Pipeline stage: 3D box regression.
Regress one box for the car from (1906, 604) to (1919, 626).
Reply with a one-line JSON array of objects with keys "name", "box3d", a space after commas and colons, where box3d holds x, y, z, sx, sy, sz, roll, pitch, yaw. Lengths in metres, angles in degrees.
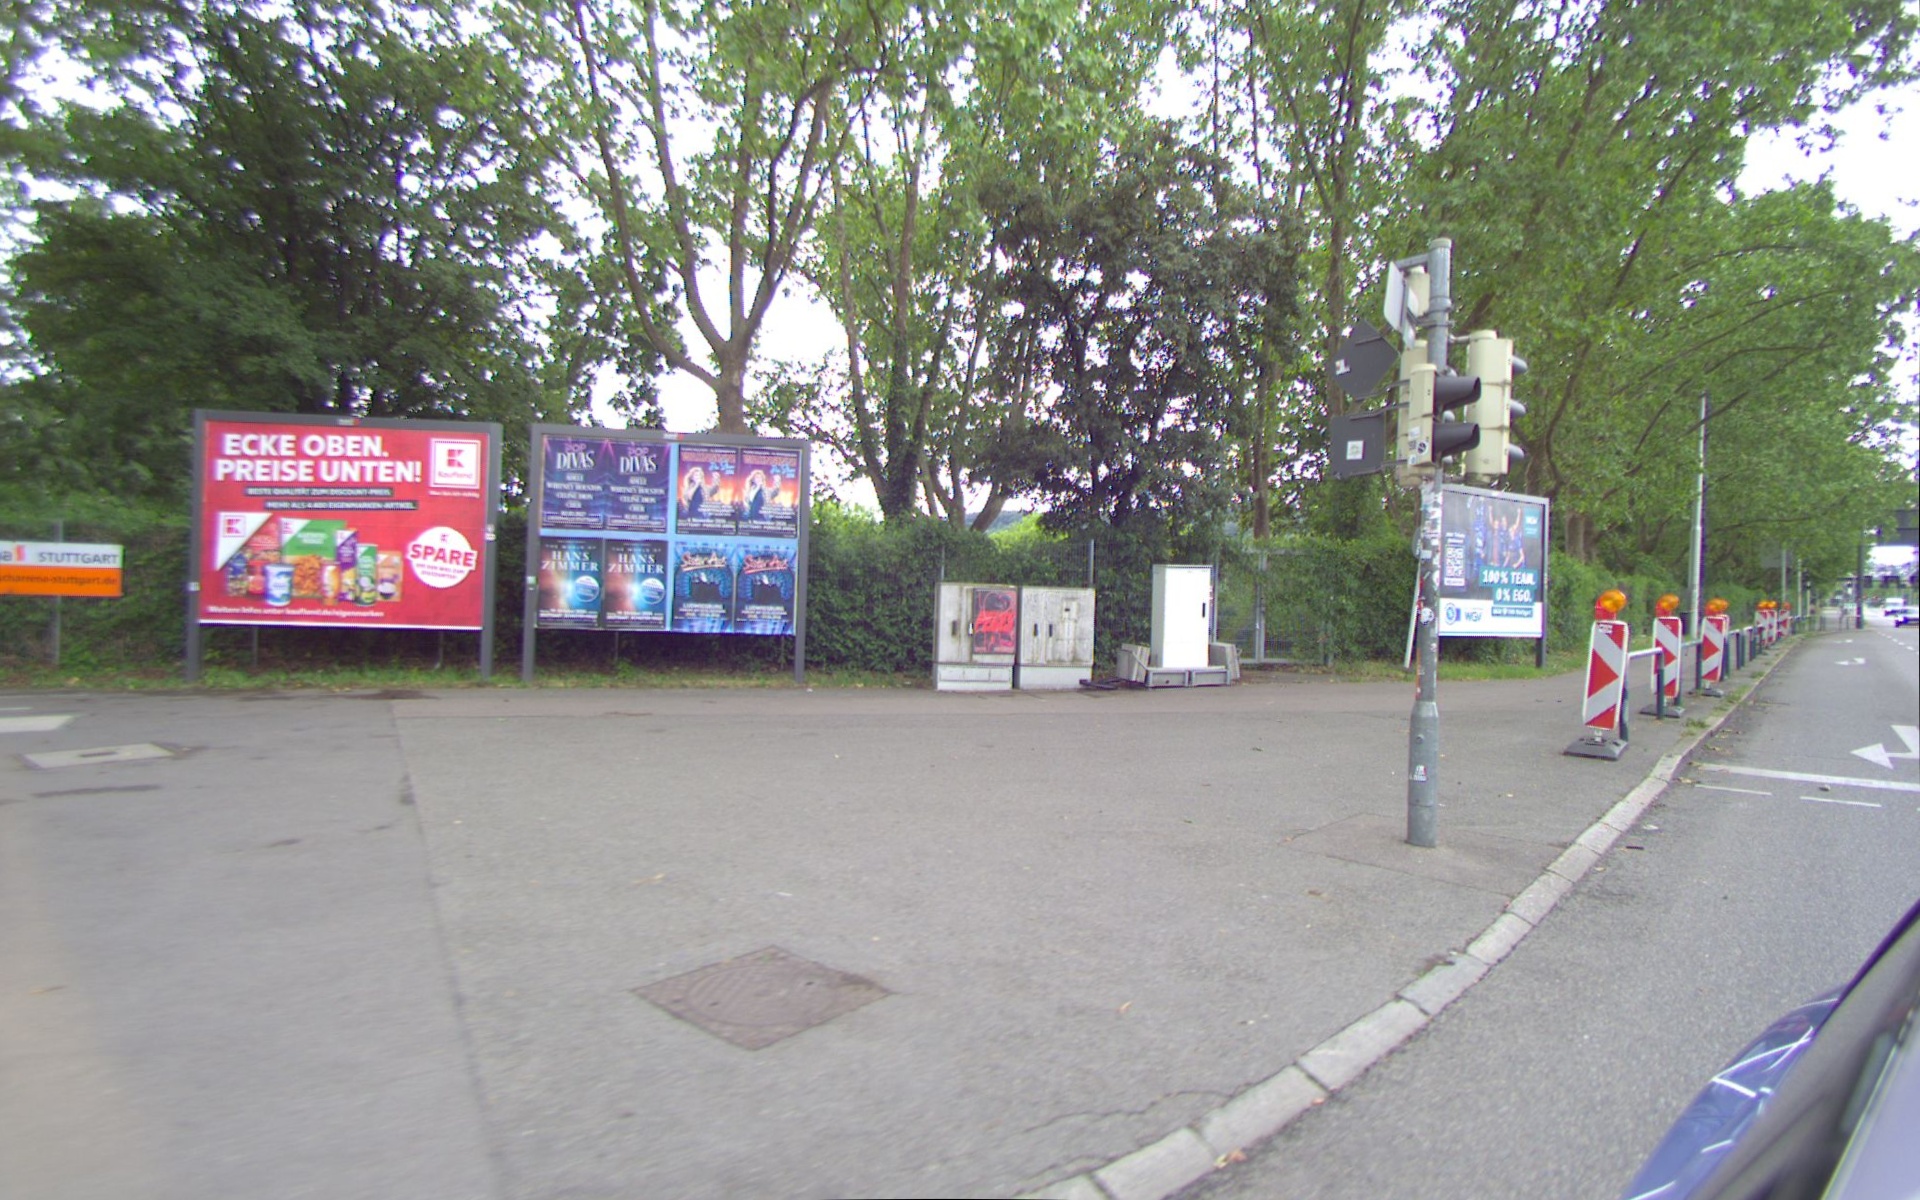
[{"name": "car", "box3d": [71.378, 1.119, 74.937, 1.793, 1.529, 3.939, 2, 1, 42]}]
